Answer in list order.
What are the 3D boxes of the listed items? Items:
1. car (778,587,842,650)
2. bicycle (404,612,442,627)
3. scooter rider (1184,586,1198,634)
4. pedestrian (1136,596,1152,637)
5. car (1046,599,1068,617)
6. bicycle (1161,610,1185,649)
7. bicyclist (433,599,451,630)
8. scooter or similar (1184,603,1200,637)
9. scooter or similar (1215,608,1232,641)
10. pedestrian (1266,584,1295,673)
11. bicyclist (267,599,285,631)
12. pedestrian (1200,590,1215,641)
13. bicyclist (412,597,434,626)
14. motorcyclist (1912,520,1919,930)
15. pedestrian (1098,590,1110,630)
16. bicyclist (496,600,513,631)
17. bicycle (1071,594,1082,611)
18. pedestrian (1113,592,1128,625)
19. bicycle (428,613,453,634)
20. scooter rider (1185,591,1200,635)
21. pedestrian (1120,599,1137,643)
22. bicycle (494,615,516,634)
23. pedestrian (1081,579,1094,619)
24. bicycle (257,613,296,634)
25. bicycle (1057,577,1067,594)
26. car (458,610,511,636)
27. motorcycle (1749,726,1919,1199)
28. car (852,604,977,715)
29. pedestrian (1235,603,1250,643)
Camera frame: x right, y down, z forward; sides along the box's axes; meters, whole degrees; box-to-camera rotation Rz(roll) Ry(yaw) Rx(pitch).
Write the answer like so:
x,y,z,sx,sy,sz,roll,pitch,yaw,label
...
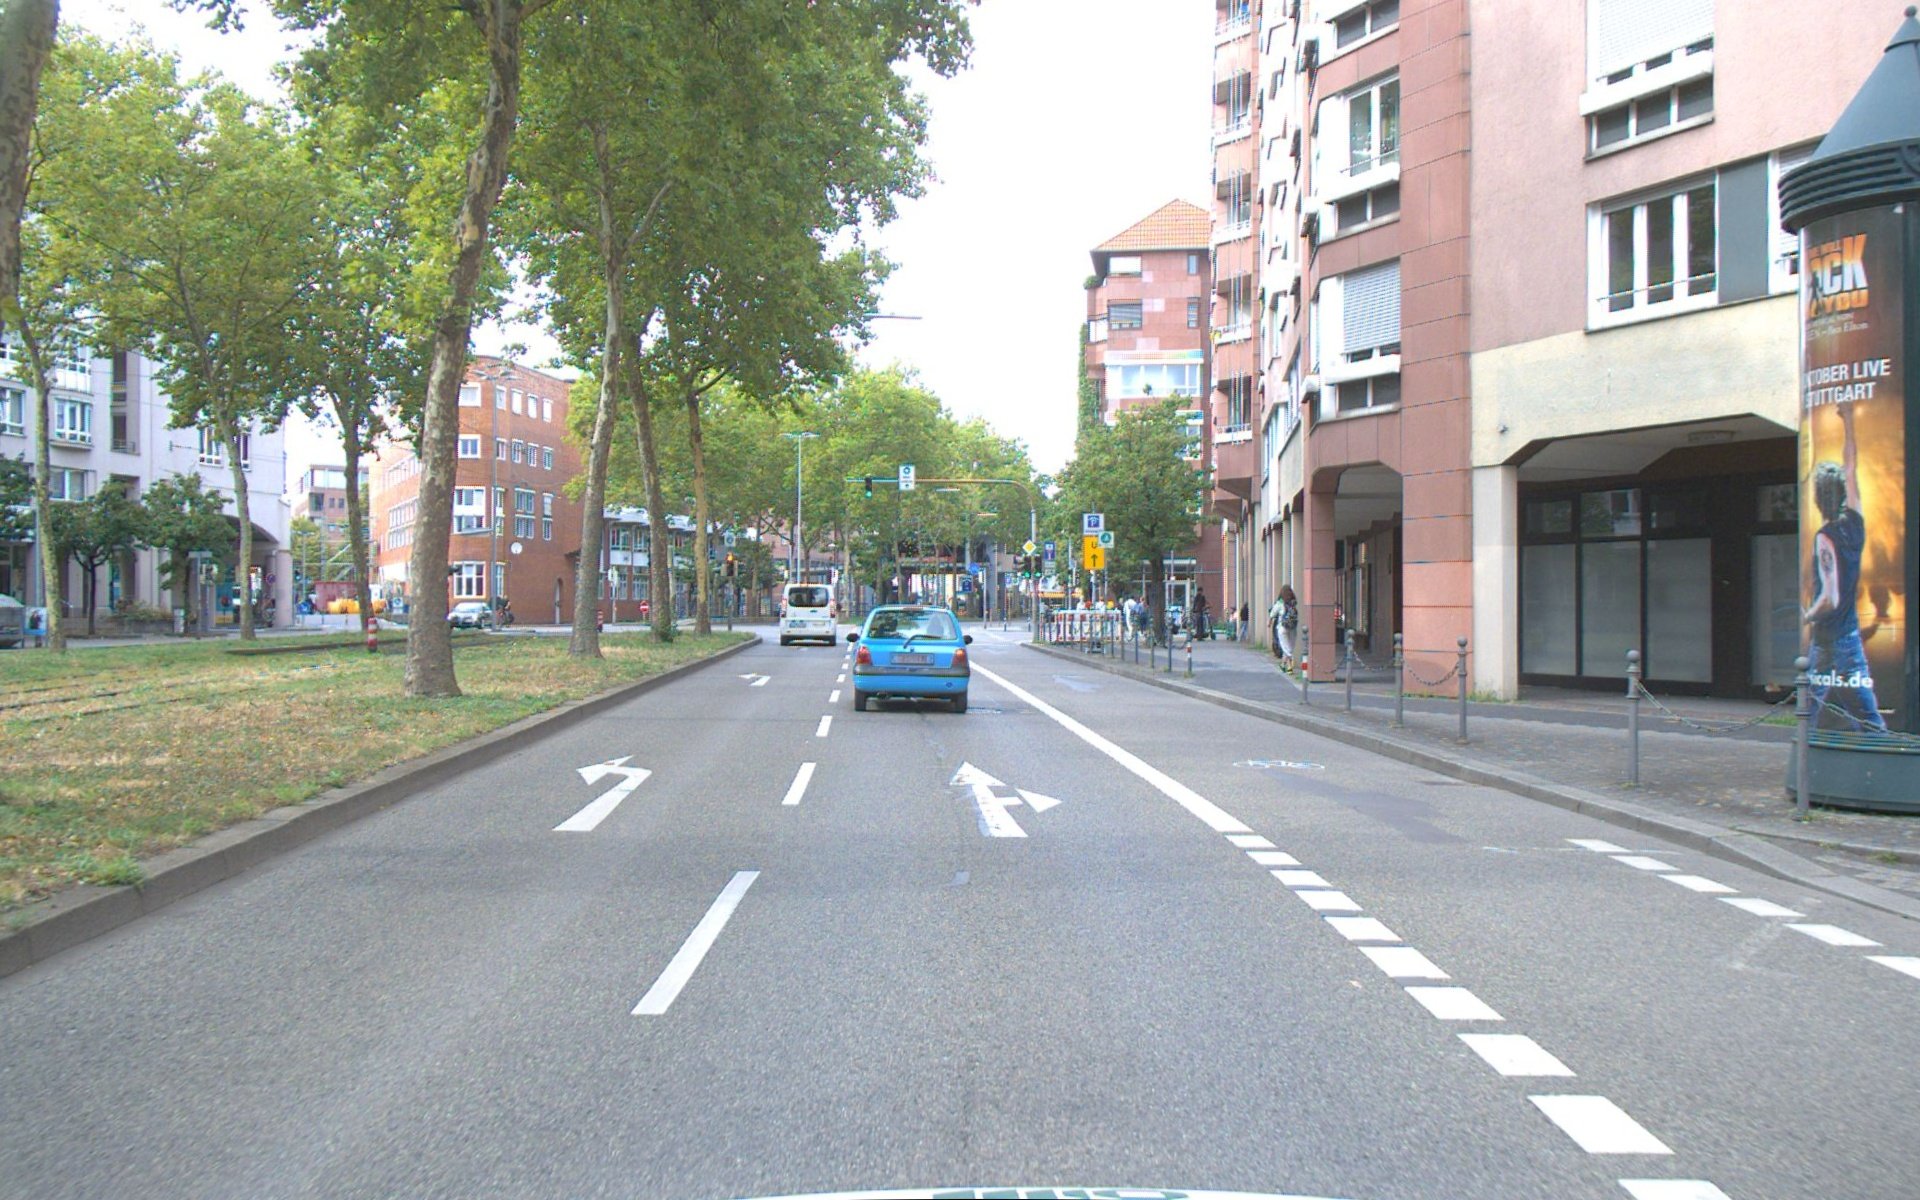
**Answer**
x,y,z,sx,sy,sz,roll,pitch,yaw,label
-4.900,0.574,54.568,1.893,1.959,4.952,0,0,-3,car
-30.101,1.081,92.787,1.969,0.850,0.570,0,0,-40,bicycle
8.471,0.380,60.695,0.453,1.750,0.553,0,0,1,scooter rider
7.840,0.689,70.432,0.638,1.730,1.022,0,0,5,pedestrian
8.923,0.713,151.431,1.662,1.629,4.003,0,0,9,car
6.408,0.877,49.795,0.599,1.137,1.805,0,0,4,bicycle
-28.199,0.778,90.067,0.675,1.702,0.953,0,0,3,bicyclist
8.454,0.723,60.340,0.464,1.227,1.331,0,0,3,scooter or similar
9.533,0.873,59.854,0.542,1.190,1.407,0,0,6,scooter or similar
6.134,0.543,31.676,0.532,1.679,0.826,0,0,10,pedestrian
-36.464,0.796,88.200,0.777,1.702,0.565,0,0,-40,bicyclist
9.018,0.567,60.283,0.540,1.831,0.658,0,0,8,pedestrian
-30.105,0.631,92.779,1.024,1.590,0.574,0,-1,-40,bicyclist
2.710,0.573,3.500,0.744,1.546,1.017,-1,-1,-4,motorcyclist
6.044,0.415,69.437,0.506,1.644,0.851,0,0,3,pedestrian
-28.068,0.953,101.929,0.653,1.880,1.081,-1,0,1,bicyclist
7.106,0.182,101.011,0.604,1.026,1.736,0,0,2,bicycle
7.696,0.425,79.317,0.661,1.565,0.947,0,0,4,pedestrian
-28.208,1.266,89.885,0.676,1.111,1.878,0,0,3,bicycle
8.450,0.464,60.111,0.451,1.584,0.565,0,0,2,scooter rider
7.177,0.894,70.438,0.662,1.860,0.851,0,0,3,pedestrian
-28.062,1.509,101.996,0.663,1.112,2.209,-1,0,1,bicycle
5.392,-0.047,69.745,0.506,1.644,0.851,0,0,2,pedestrian
-36.450,1.252,88.213,1.859,1.111,0.569,0,0,-41,bicycle
6.221,-0.895,100.864,0.604,1.026,1.736,0,0,2,bicycle
-24.530,1.189,85.506,1.695,1.267,4.531,0,0,-4,car
2.704,0.916,3.630,0.752,1.126,2.206,-1,-1,-4,motorcycle
-0.680,0.774,23.363,1.608,1.410,3.841,0,0,-3,car
9.709,0.791,56.811,0.476,1.347,0.485,0,0,11,pedestrian
